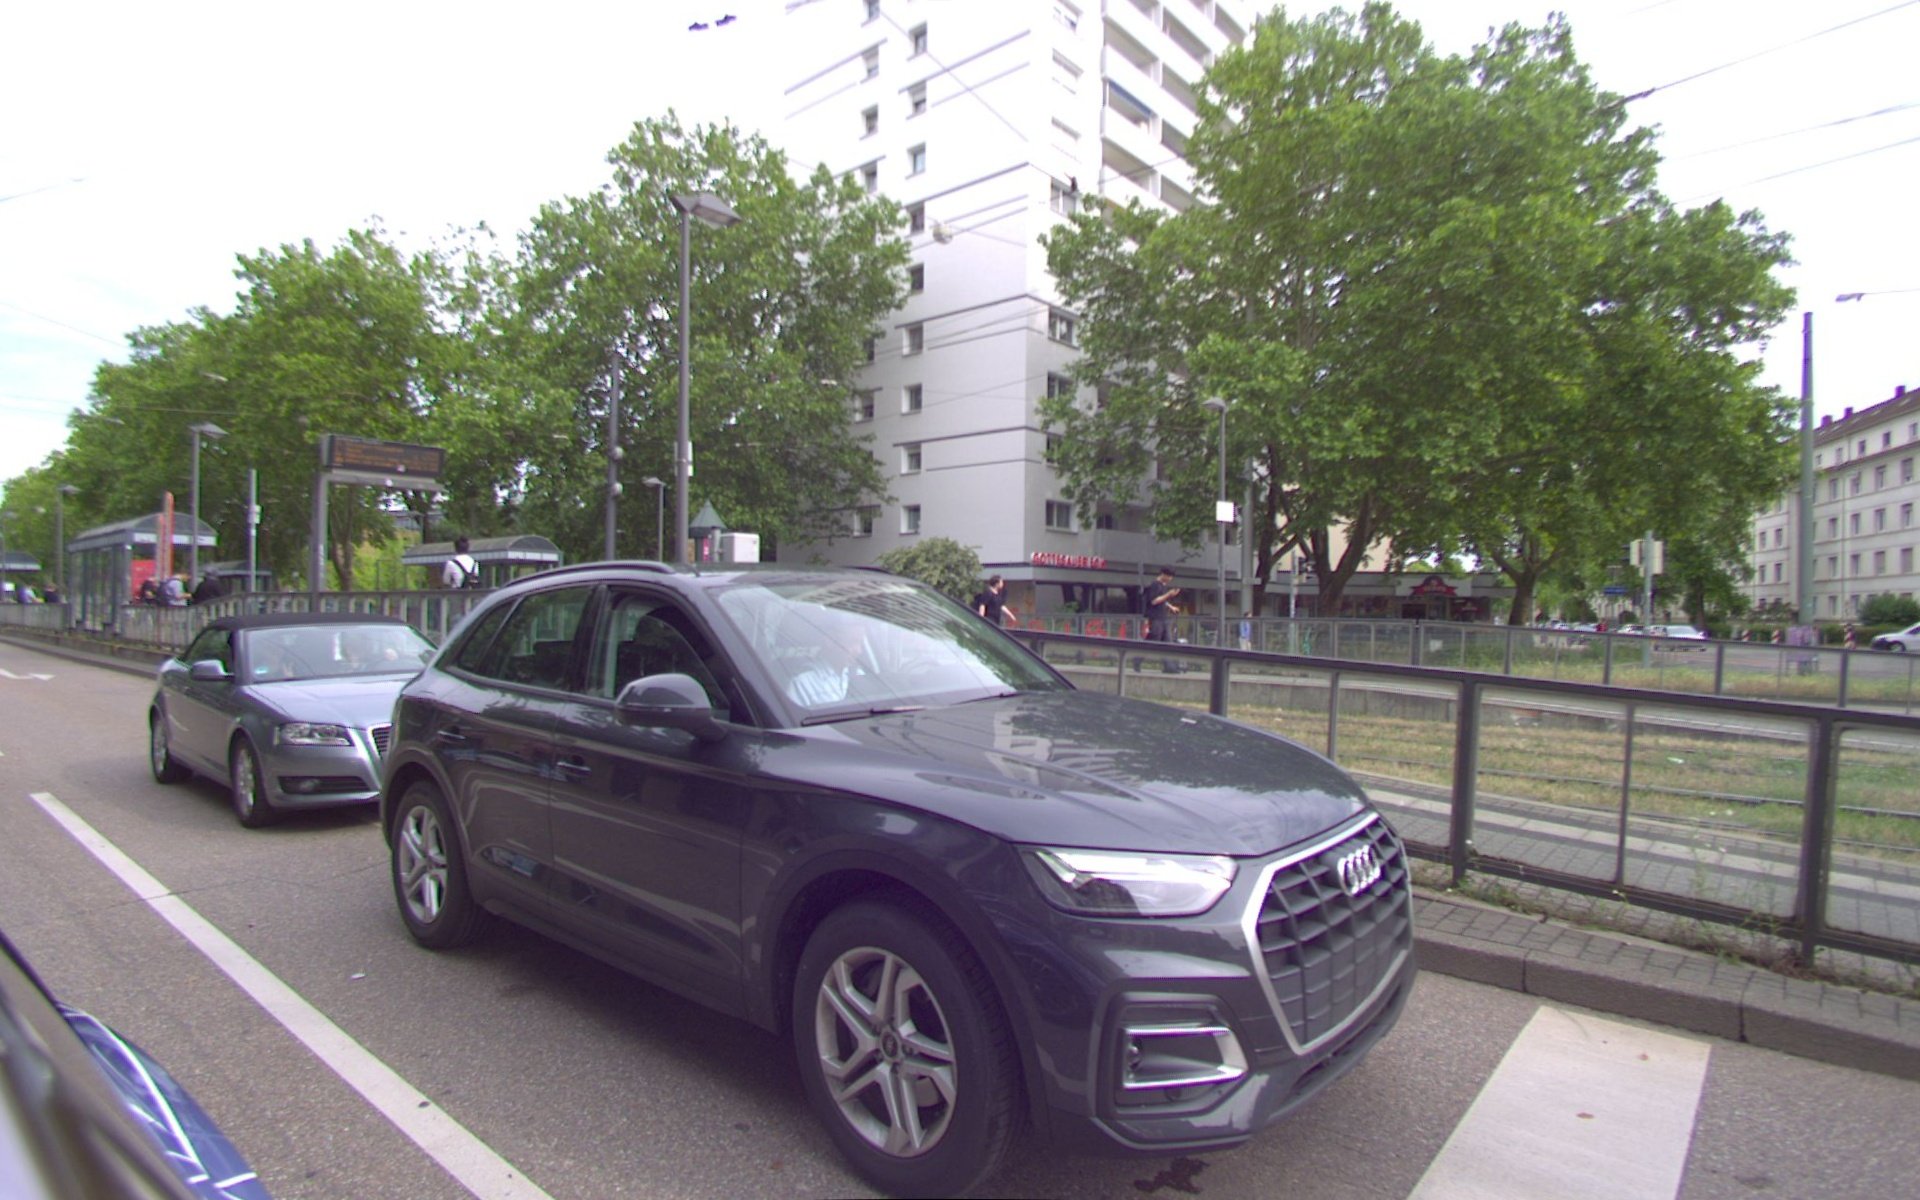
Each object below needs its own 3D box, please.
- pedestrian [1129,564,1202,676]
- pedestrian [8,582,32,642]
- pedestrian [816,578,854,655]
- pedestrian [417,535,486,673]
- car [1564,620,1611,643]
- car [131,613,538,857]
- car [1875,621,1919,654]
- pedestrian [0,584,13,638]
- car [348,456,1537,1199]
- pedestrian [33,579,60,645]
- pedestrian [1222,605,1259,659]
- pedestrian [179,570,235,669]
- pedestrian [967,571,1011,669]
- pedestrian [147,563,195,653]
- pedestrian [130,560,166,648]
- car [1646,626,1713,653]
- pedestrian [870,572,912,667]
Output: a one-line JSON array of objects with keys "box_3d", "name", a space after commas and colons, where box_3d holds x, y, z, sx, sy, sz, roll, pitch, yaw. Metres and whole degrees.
[{"box_3d": [3.245, 0.299, 16.019, 0.878, 1.708, 0.733, 0, 0, 42], "name": "pedestrian"}, {"box_3d": [-32.787, 0.401, 35.295, 0.822, 2.066, 0.577, 0, 0, 45], "name": "pedestrian"}, {"box_3d": [-2.759, 0.357, 22.392, 0.565, 1.681, 0.614, 0, 0, 42], "name": "pedestrian"}, {"box_3d": [-6.723, 0.049, 13.390, 0.534, 1.764, 0.654, 0, 0, 42], "name": "pedestrian"}, {"box_3d": [47.235, 2.355, 76.218, 1.918, 1.697, 3.980, 0, -1, 15], "name": "car"}, {"box_3d": [-5.017, 0.815, 7.879, 4.012, 1.385, 1.616, 0, 0, 41], "name": "car"}, {"box_3d": [50.293, 1.928, 51.818, 4.820, 1.676, 1.977, 0, -1, 34], "name": "car"}, {"box_3d": [-36.460, 0.419, 38.494, 0.822, 2.066, 0.577, 0, 0, 45], "name": "pedestrian"}, {"box_3d": [-0.498, 0.596, 3.815, 4.366, 1.659, 1.892, 0, 0, 41], "name": "car"}, {"box_3d": [-28.912, 0.372, 32.032, 0.822, 2.066, 0.577, 0, 0, 45], "name": "pedestrian"}, {"box_3d": [8.128, 0.912, 29.328, 0.854, 1.520, 0.546, 0, 0, 44], "name": "pedestrian"}, {"box_3d": [-13.970, 0.354, 18.785, 0.652, 1.805, 0.535, 0, 0, -9], "name": "pedestrian"}, {"box_3d": [0.544, 0.359, 18.740, 0.548, 1.764, 0.614, 0, 0, 42], "name": "pedestrian"}, {"box_3d": [-16.204, 0.163, 20.793, 0.822, 1.805, 0.674, 0, 0, 45], "name": "pedestrian"}, {"box_3d": [-19.507, 0.101, 24.307, 0.822, 2.066, 0.577, 0, 0, 45], "name": "pedestrian"}, {"box_3d": [41.037, 2.239, 57.801, 1.745, 1.431, 3.982, 0, -1, 14], "name": "car"}, {"box_3d": [-1.342, 0.370, 19.765, 0.534, 1.803, 0.614, 0, 0, 42], "name": "pedestrian"}]
